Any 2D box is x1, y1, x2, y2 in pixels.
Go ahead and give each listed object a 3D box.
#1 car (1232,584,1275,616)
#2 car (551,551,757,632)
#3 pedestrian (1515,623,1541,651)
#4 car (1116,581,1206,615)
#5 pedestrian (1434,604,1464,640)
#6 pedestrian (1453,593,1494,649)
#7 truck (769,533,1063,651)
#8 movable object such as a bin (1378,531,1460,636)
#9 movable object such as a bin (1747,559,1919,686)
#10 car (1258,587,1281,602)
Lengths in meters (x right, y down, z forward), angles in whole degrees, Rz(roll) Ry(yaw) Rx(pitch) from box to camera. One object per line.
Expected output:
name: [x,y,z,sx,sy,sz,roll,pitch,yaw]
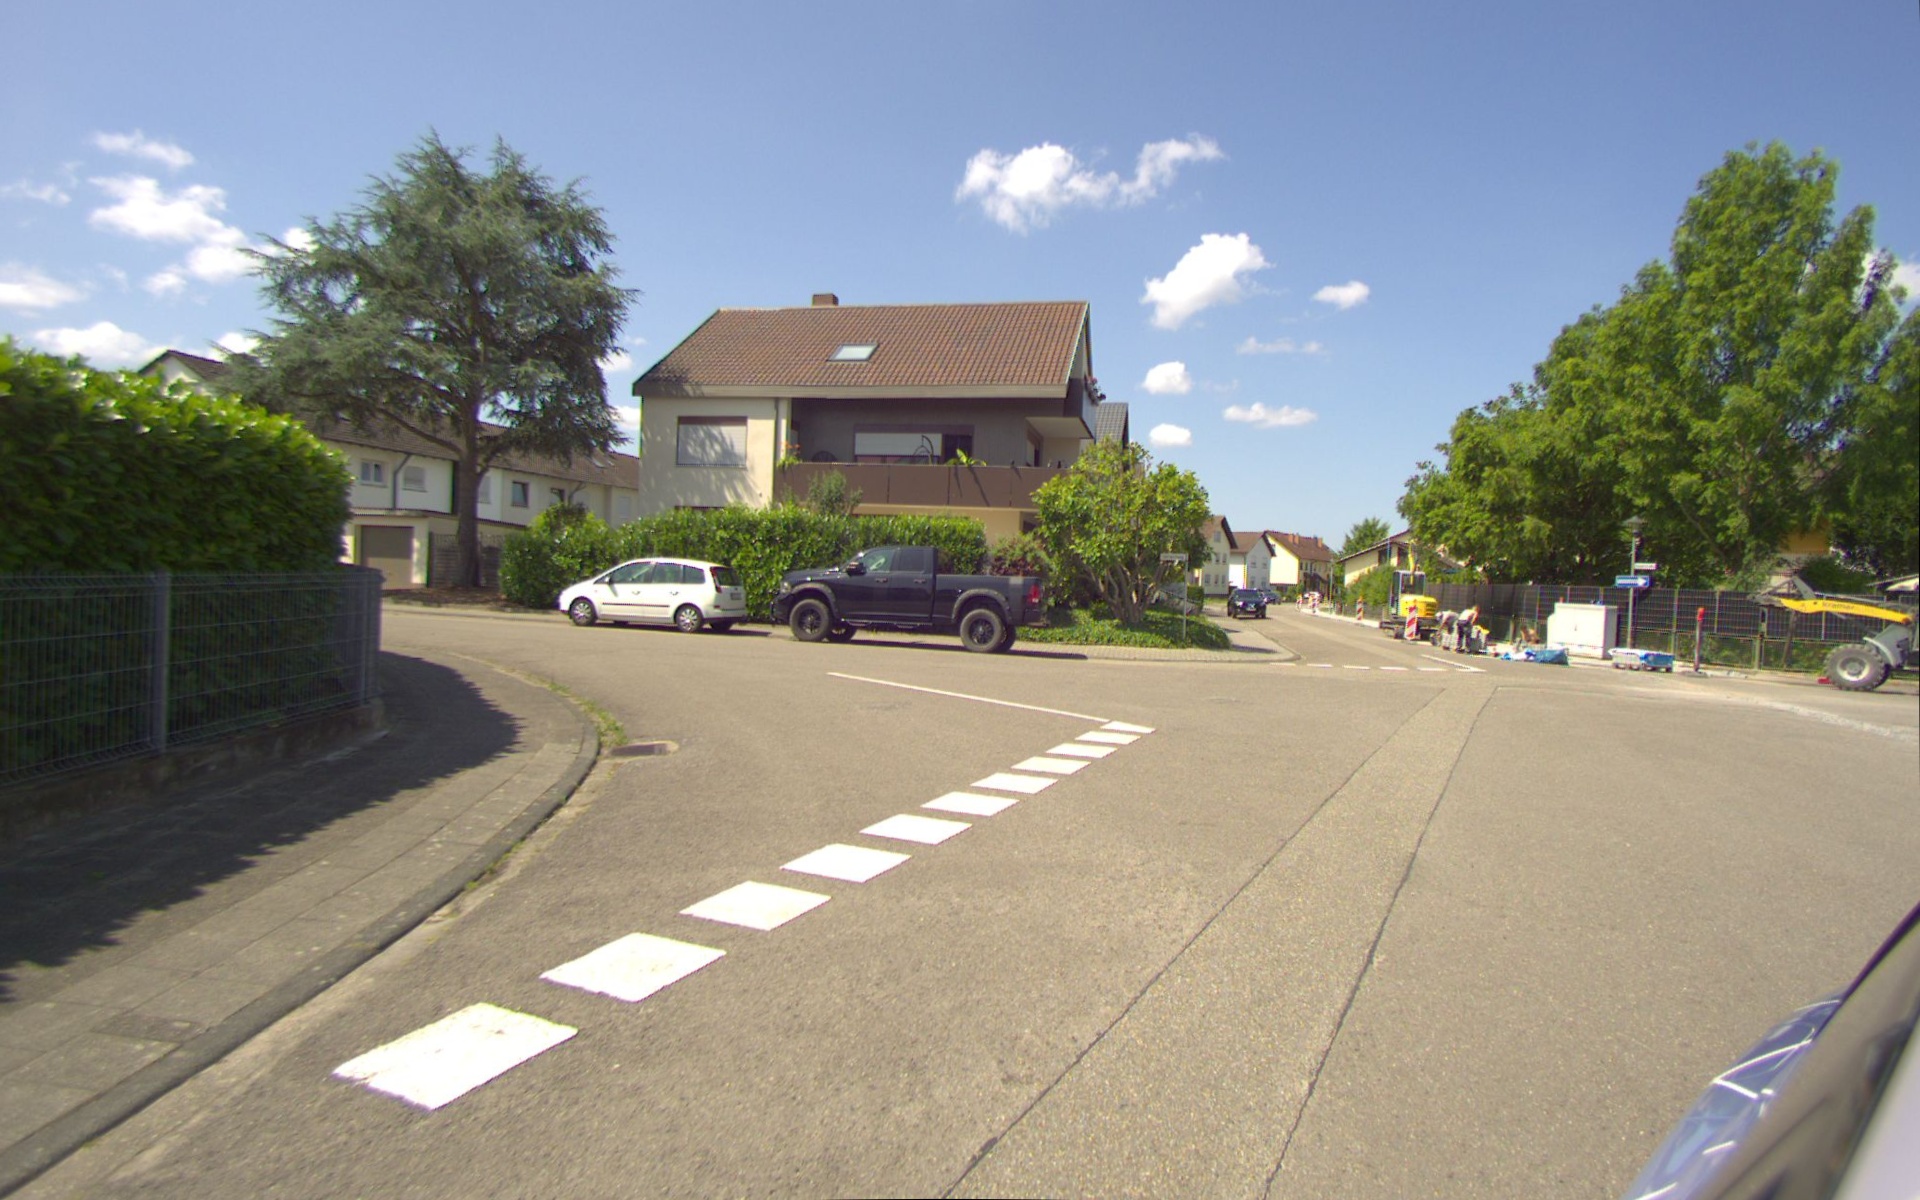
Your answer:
car: [15.971,-0.026,55.222,1.891,1.561,3.987,3,2,12]
car: [-6.852,-0.212,22.814,4.079,1.582,1.797,3,1,12]
pedestrian: [16.806,1.082,29.948,0.512,0.803,0.432,1,1,-23]
car: [9.311,-0.100,46.959,3.939,1.358,1.993,3,1,12]
pedestrian: [16.521,0.740,34.216,0.808,1.183,0.512,1,1,-28]
pedestrian: [14.456,0.580,28.517,0.833,1.533,0.533,1,1,-13]
truck: [-0.813,-0.130,20.903,5.622,2.040,2.362,2,-3,11]
movable object such as a bin: [17.013,-0.634,37.696,1.971,3.609,3.799,2,1,14]
movable object such as a bin: [19.629,0.500,20.787,1.967,2.483,5.218,4,0,-45]
car: [36.747,-0.675,120.177,1.981,1.670,3.963,3,2,27]
